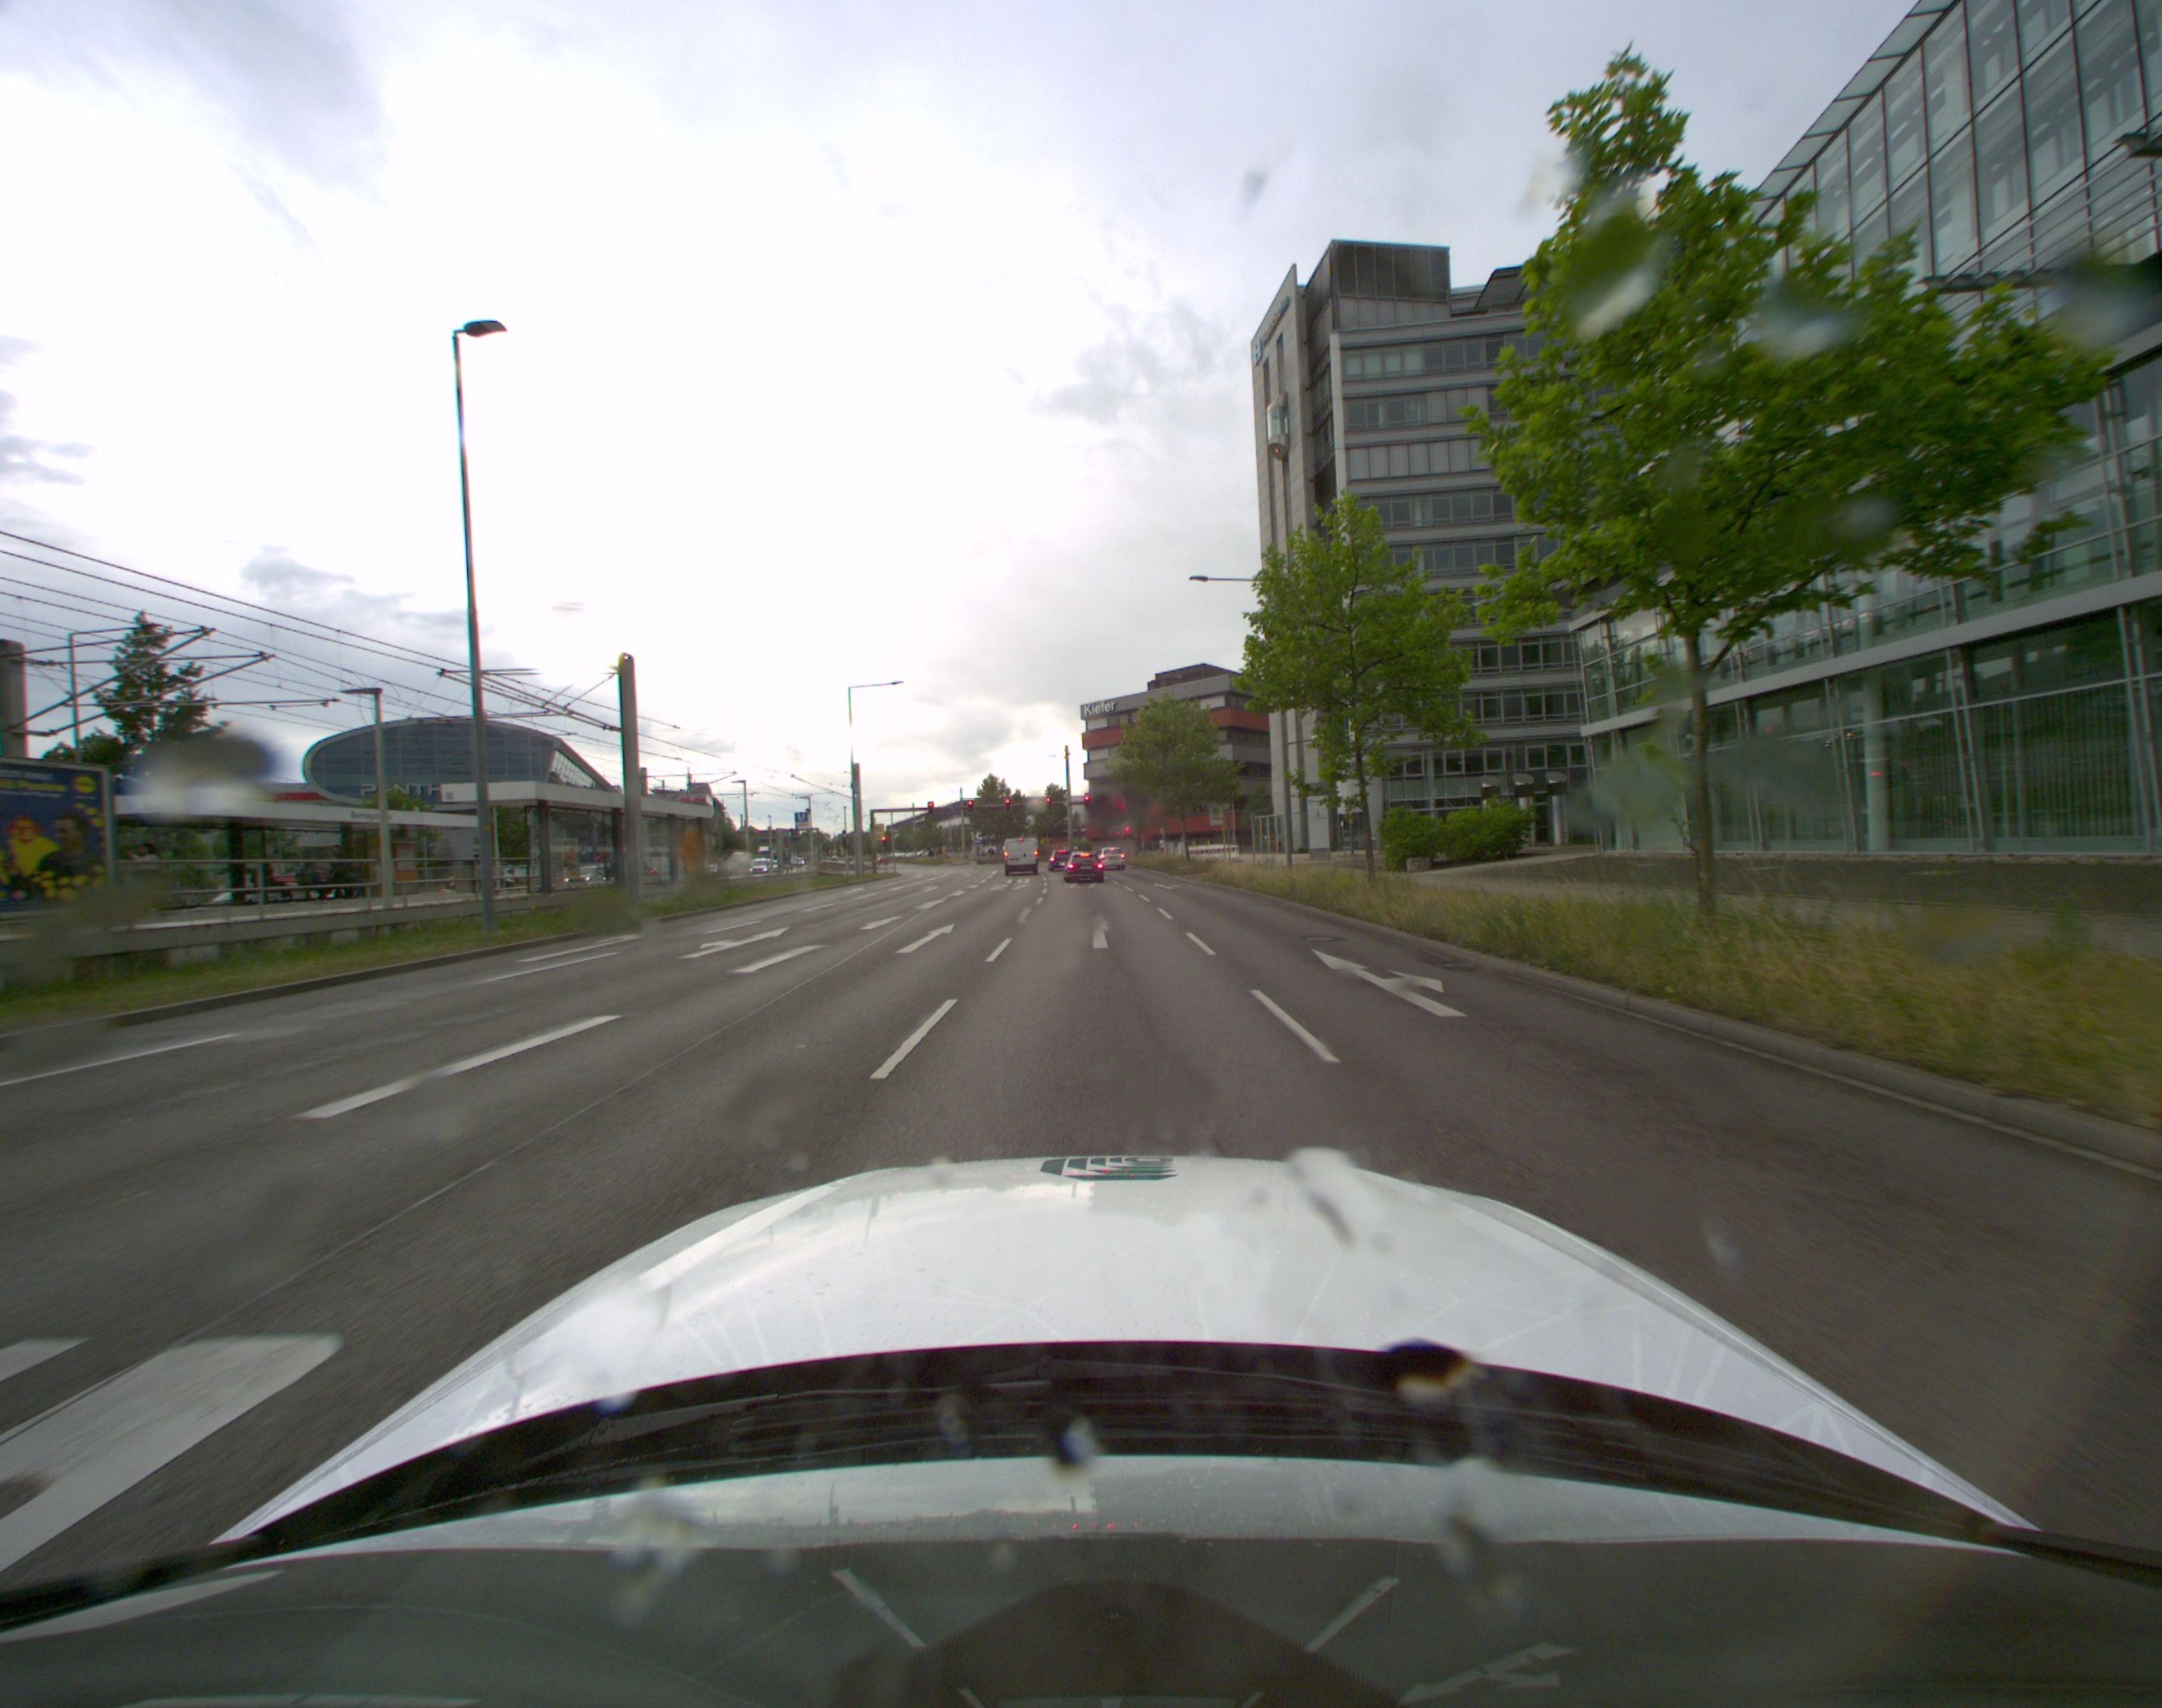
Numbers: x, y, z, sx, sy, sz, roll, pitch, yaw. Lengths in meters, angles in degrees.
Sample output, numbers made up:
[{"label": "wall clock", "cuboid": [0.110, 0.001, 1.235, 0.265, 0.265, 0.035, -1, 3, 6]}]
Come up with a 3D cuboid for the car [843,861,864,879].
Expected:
[{"label": "car", "cuboid": [-28.354, 1.976, 101.669, 1.771, 2.013, 4.337, -1, 1, -7]}]

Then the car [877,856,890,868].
[{"label": "car", "cuboid": [-35.004, 1.472, 144.264, 1.778, 2.014, 4.320, -1, 0, -19]}]

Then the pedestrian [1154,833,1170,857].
[{"label": "pedestrian", "cuboid": [7.449, -0.870, 75.116, 1.141, 2.125, 1.221, -4, 2, -4]}]

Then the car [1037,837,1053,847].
[{"label": "car", "cuboid": [-7.000, -2.307, 157.491, 1.879, 2.014, 3.743, -1, 0, -25]}]

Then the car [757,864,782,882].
[{"label": "car", "cuboid": [-36.861, 2.264, 96.554, 1.771, 2.014, 4.336, -1, 0, -7]}]

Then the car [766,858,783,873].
[{"label": "car", "cuboid": [-36.875, 1.371, 98.138, 1.531, 1.666, 4.245, -1, 0, -16]}]

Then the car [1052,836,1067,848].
[{"label": "car", "cuboid": [-3.980, -2.208, 149.286, 1.681, 2.013, 3.115, -1, 0, -21]}]

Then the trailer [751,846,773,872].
[{"label": "trailer", "cuboid": [-54.548, 0.795, 139.461, 2.804, 4.106, 11.368, -4, 1, -19]}]

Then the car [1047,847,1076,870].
[{"label": "car", "cuboid": [-1.372, 0.300, 56.735, 1.889, 1.465, 3.906, -3, 0, -2]}]

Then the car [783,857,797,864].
[{"label": "car", "cuboid": [-52.132, 1.207, 146.049, 1.911, 1.264, 4.393, -1, 0, -14]}]

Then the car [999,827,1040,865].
[{"label": "car", "cuboid": [-3.956, -0.477, 51.601, 2.442, 2.294, 4.894, -1, 0, -6]}]

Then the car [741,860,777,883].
[{"label": "car", "cuboid": [-33.145, 1.753, 84.015, 1.990, 2.214, 5.135, -1, 0, -5]}]

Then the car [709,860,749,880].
[{"label": "car", "cuboid": [-31.049, 1.373, 71.983, 1.992, 1.731, 5.016, -1, 0, -8]}]

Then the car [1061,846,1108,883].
[{"label": "car", "cuboid": [0.092, 0.492, 38.969, 1.989, 1.637, 3.995, -1, 0, -4]}]

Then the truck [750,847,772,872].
[{"label": "truck", "cuboid": [-52.952, 0.862, 134.851, 2.841, 3.995, 5.948, -3, 1, -19]}]

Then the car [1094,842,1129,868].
[{"label": "car", "cuboid": [2.053, 0.066, 55.434, 1.826, 1.656, 3.993, -2, 0, -5]}]
